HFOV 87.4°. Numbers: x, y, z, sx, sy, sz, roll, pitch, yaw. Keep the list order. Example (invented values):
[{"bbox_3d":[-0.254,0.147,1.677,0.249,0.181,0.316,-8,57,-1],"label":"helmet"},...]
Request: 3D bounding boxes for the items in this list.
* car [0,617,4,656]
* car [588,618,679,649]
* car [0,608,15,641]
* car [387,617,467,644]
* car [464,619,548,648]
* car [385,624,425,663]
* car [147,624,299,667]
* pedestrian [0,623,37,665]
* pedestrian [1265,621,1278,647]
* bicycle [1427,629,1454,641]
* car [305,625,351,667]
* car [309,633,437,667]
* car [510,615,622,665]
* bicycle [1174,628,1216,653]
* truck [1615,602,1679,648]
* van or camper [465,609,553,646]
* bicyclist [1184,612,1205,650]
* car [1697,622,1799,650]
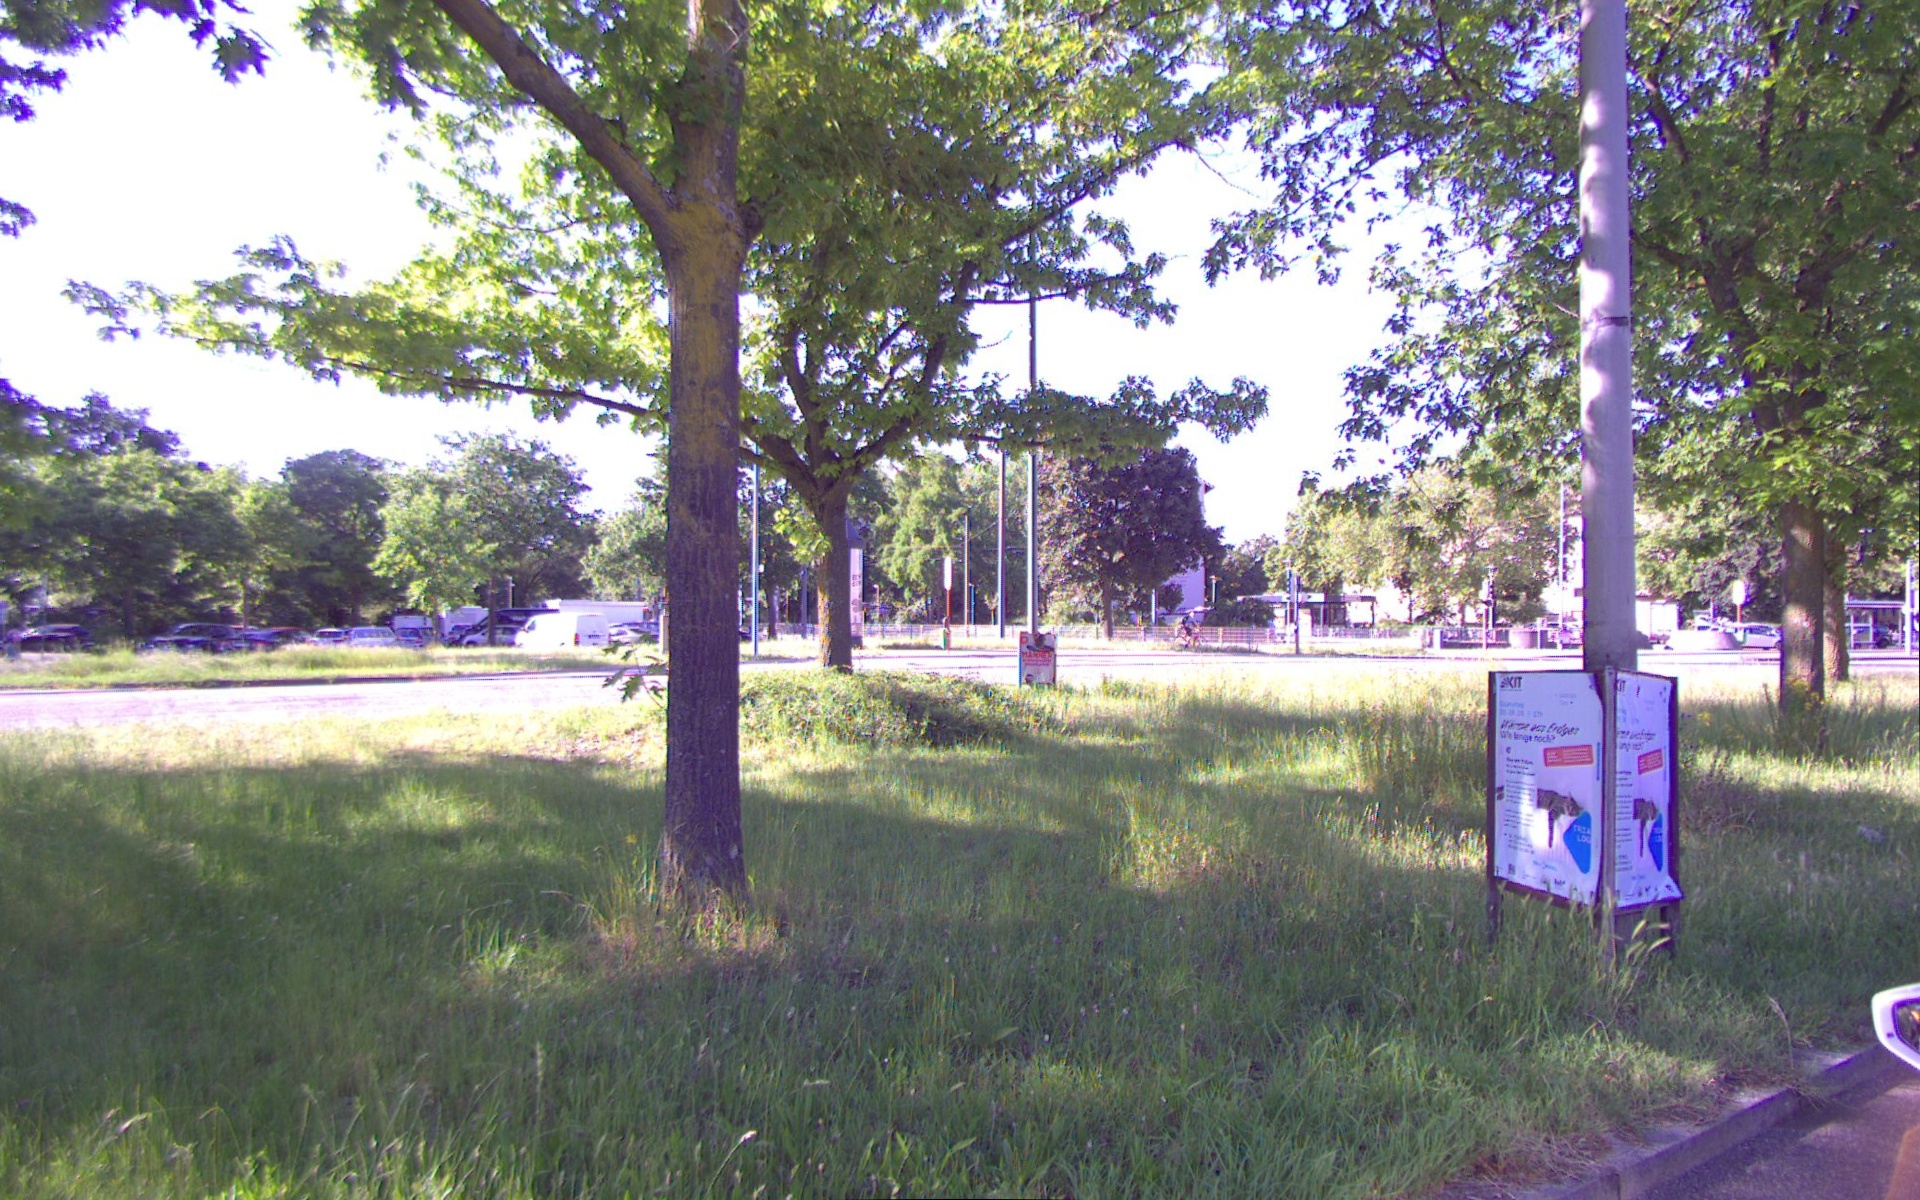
[{"bbox_3d":[-39.306,1.358,37.727,1.964,1.483,4.548,2,0,30],"label":"car"},{"bbox_3d":[-15.012,1.519,46.169,3.934,1.299,1.994,0,-1,35],"label":"car"},{"bbox_3d":[-55.305,1.337,55.631,4.097,1.824,1.980,1,-1,-36],"label":"car"},{"bbox_3d":[-31.356,1.776,59.219,3.943,1.530,1.989,1,-1,-23],"label":"car"},{"bbox_3d":[-25.095,1.846,55.652,3.932,1.493,1.963,0,2,-14],"label":"car"},{"bbox_3d":[-27.208,2.105,49.223,1.635,1.628,3.854,1,2,-30],"label":"car"},{"bbox_3d":[-26.054,1.585,35.637,3.929,1.467,1.819,0,-1,-11],"label":"car"},{"bbox_3d":[-32.873,1.528,34.978,0.863,1.437,0.994,1,-1,-30],"label":"pedestrian"},{"bbox_3d":[22.545,2.480,72.800,0.714,1.853,0.559,1,-1,-9],"label":"pedestrian"},{"bbox_3d":[34.584,2.515,72.279,1.652,0.850,0.548,0,-1,18],"label":"bicycle"},{"bbox_3d":[-29.587,2.118,47.101,1.635,1.628,3.854,1,2,-30],"label":"car"},{"bbox_3d":[-21.872,1.841,37.463,3.962,1.143,1.803,1,-1,-37],"label":"car"},{"bbox_3d":[-17.236,1.682,43.833,4.917,2.040,2.232,0,-1,35],"label":"car"},{"bbox_3d":[9.854,1.695,42.166,1.630,1.014,0.612,0,-1,-15],"label":"bicycle"},{"bbox_3d":[46.774,1.681,68.486,1.959,3.035,4.831,0,0,13],"label":"truck"},{"bbox_3d":[-25.998,1.590,58.073,4.326,2.124,1.995,0,-1,-14],"label":"van or camper"},{"bbox_3d":[9.853,1.288,42.160,0.665,1.551,0.612,-1,1,-16],"label":"bicyclist"},{"bbox_3d":[47.961,2.174,61.222,4.457,1.565,1.873,0,2,14],"label":"car"}]
